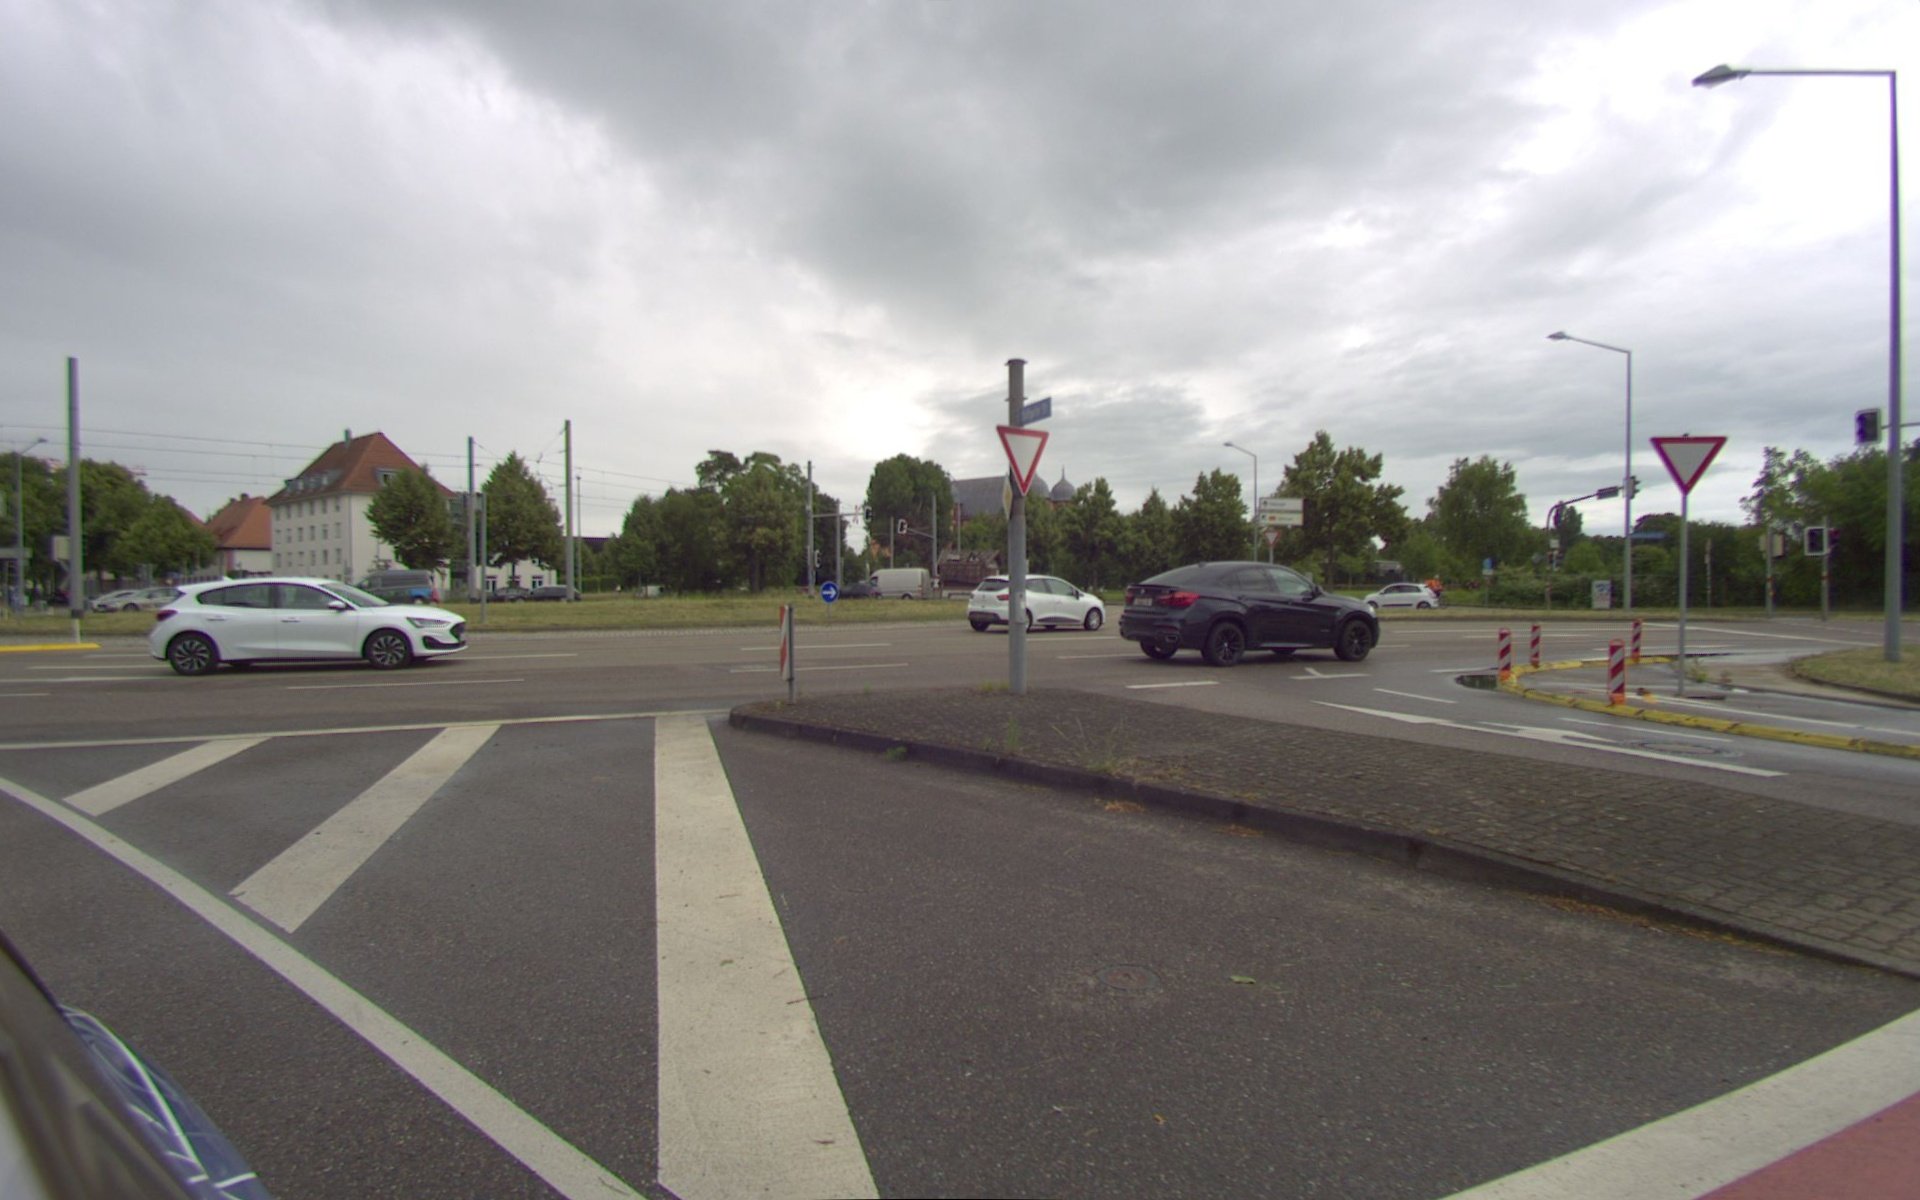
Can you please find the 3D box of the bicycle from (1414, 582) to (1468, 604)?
[{"bbox_3d":[27.376,-0.401,57.607,2.690,1.231,0.747,-1,0,44],"label":"bicycle"}]

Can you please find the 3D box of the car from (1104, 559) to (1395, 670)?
[{"bbox_3d":[4.984,0.170,17.355,4.669,1.680,1.928,-1,1,-25],"label":"car"}]

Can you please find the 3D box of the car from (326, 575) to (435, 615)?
[{"bbox_3d":[-34.328,-0.318,60.035,5.263,2.259,2.177,-2,1,-44],"label":"car"}]

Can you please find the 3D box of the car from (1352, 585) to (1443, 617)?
[{"bbox_3d":[22.459,0.028,51.949,3.992,1.567,1.876,0,1,36],"label":"car"}]

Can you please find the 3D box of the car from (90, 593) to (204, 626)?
[{"bbox_3d":[-39.916,0.442,49.792,1.802,1.499,3.969,0,1,23],"label":"car"}]

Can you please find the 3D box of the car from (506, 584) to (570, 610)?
[{"bbox_3d":[-28.943,-0.207,69.567,3.931,1.696,1.819,-1,1,-20],"label":"car"}]

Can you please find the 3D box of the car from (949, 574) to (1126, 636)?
[{"bbox_3d":[2.045,0.077,26.116,4.403,1.466,1.926,-2,1,-38],"label":"car"}]

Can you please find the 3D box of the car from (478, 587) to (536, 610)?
[{"bbox_3d":[-34.922,-0.140,78.127,3.931,1.696,1.819,-1,1,-20],"label":"car"}]

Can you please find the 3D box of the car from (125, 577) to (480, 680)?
[{"bbox_3d":[-10.405,0.397,16.391,4.402,1.468,1.926,-1,1,-12],"label":"car"}]

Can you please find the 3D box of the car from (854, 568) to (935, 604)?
[{"bbox_3d":[-4.809,-1.046,74.337,5.577,2.560,2.222,0,1,25],"label":"car"}]

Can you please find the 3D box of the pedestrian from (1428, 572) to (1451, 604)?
[{"bbox_3d":[27.315,-0.689,57.646,0.974,1.784,0.738,-1,0,43],"label":"pedestrian"}]
